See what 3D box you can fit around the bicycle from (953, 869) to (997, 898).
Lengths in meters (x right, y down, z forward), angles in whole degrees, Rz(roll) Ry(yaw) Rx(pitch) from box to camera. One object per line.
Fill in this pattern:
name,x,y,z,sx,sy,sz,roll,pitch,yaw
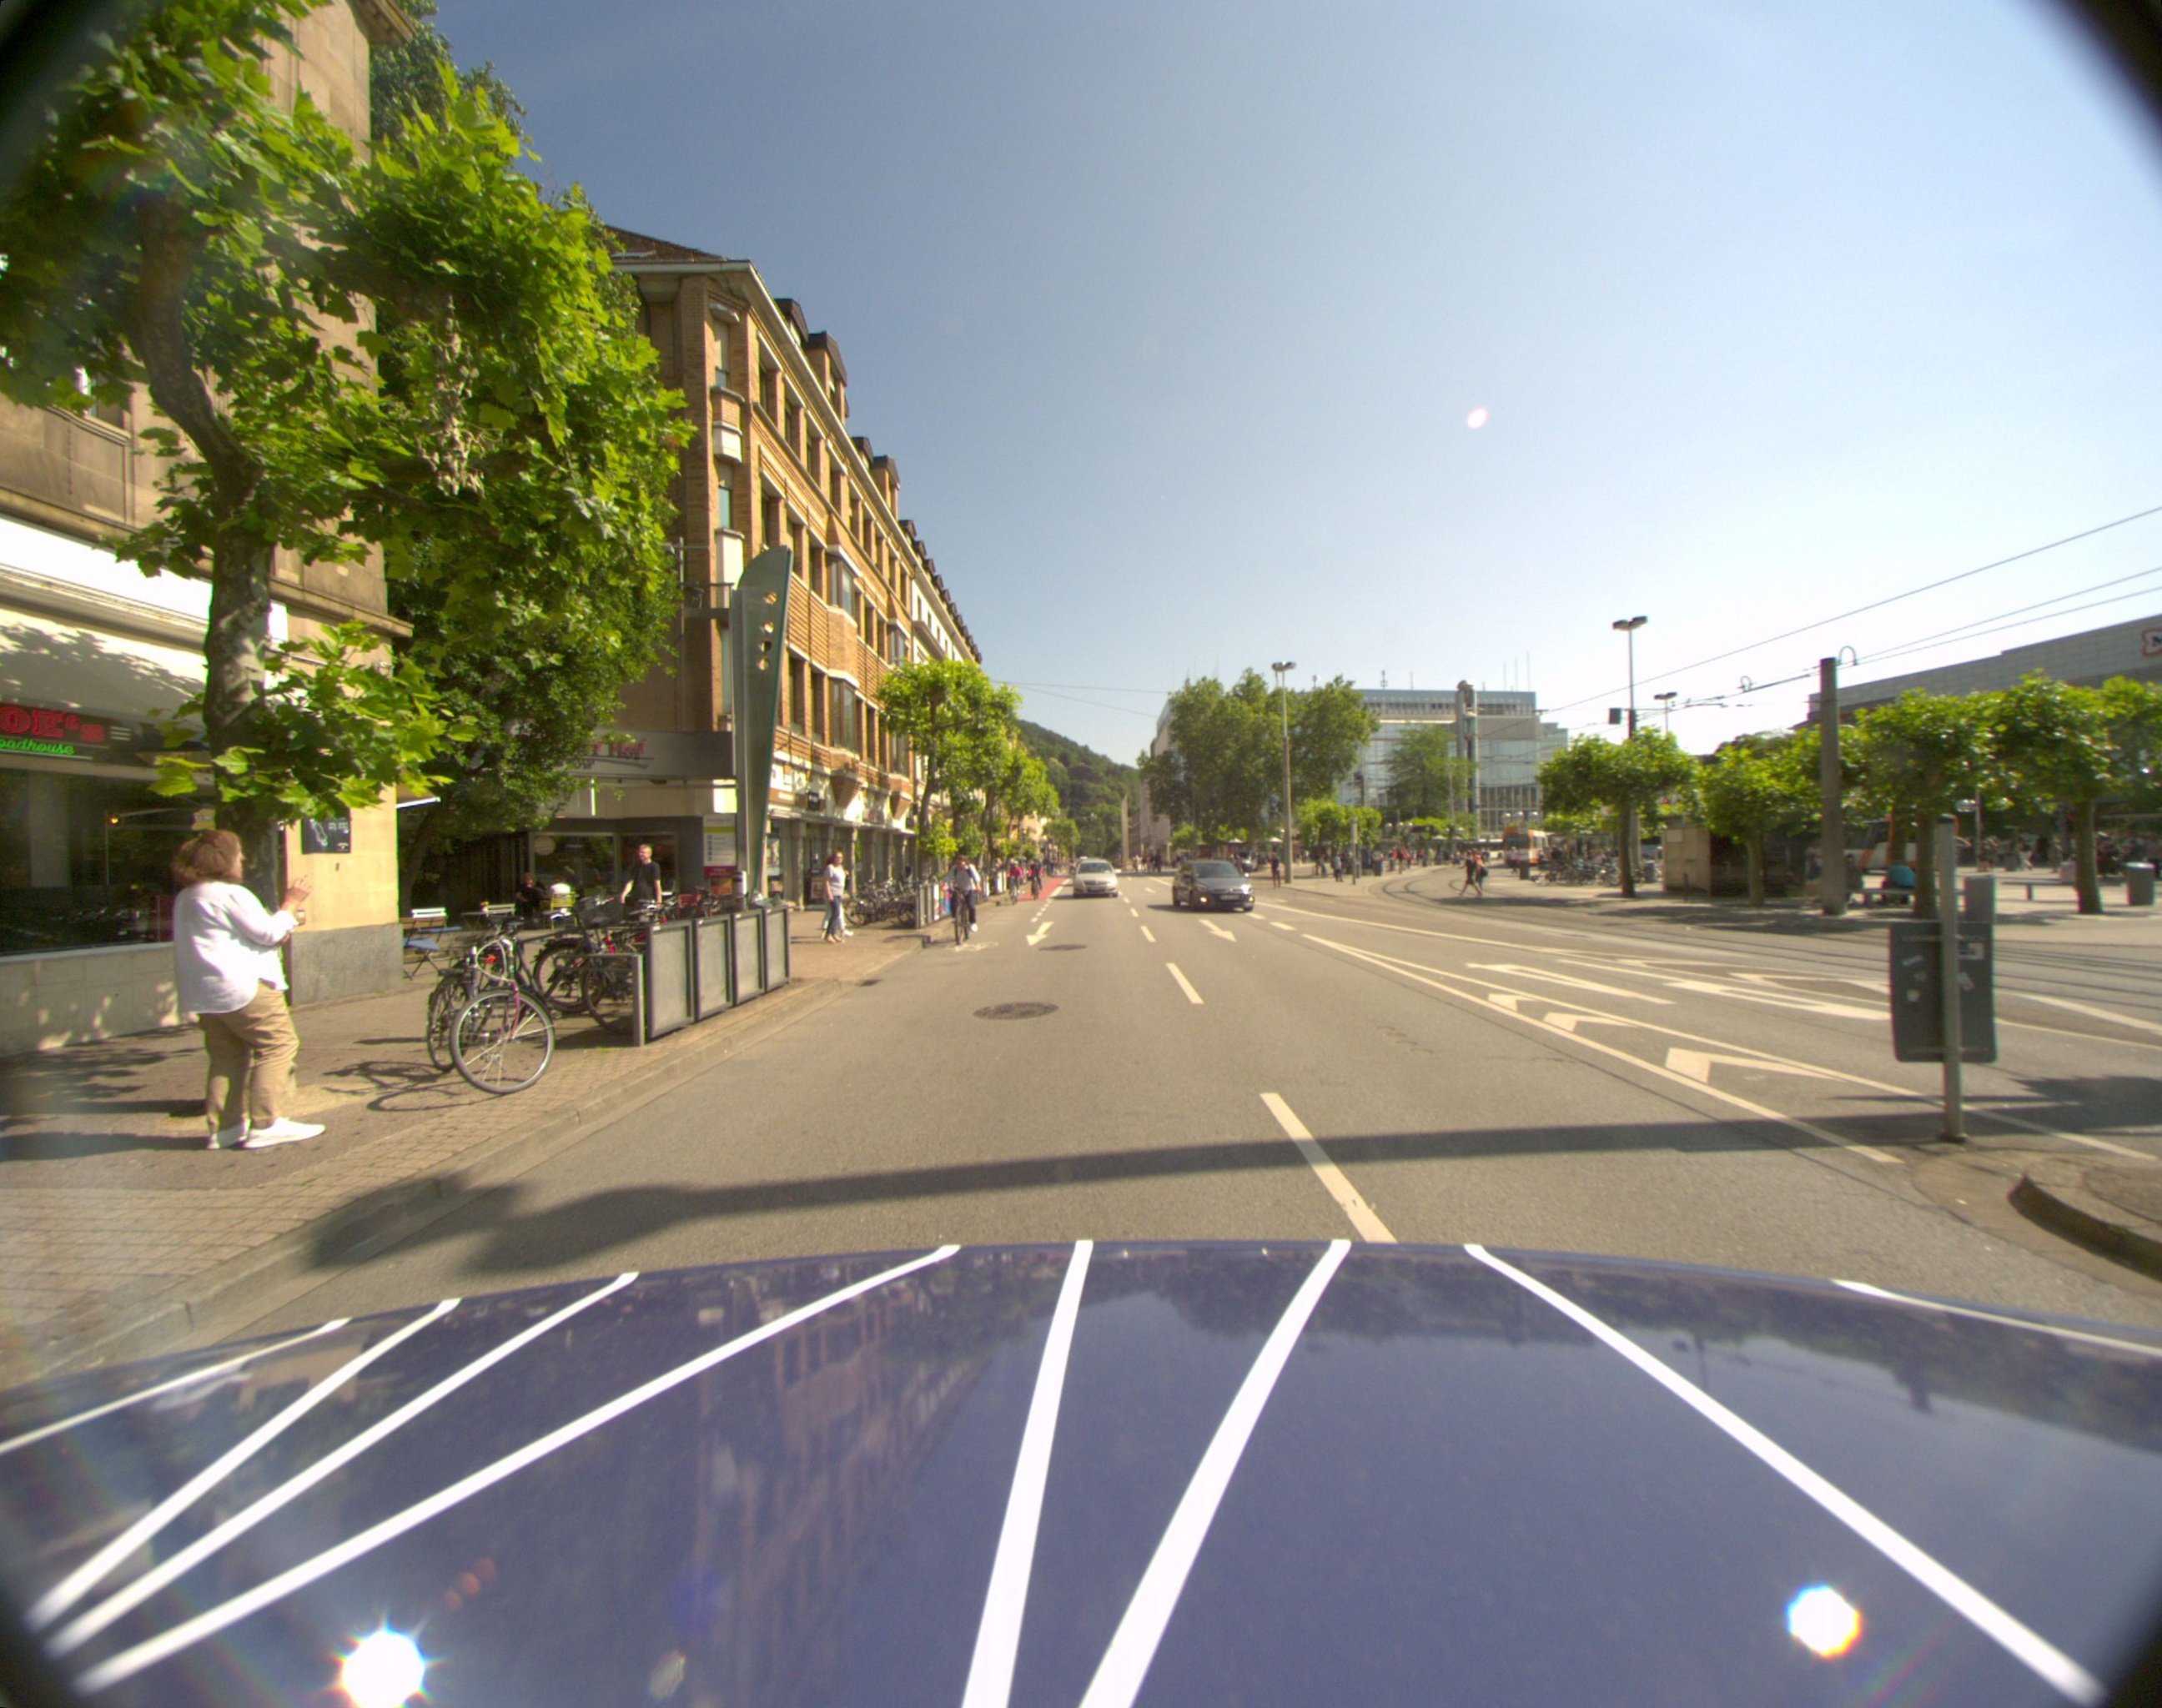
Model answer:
bicycle,-4.458,1.222,31.947,1.757,1.140,0.483,-2,1,-1

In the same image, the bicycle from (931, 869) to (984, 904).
bicycle,-4.378,1.148,26.913,1.757,1.140,0.483,-2,1,-1

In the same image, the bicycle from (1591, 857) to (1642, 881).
bicycle,22.391,0.629,31.782,1.871,0.864,0.581,-3,1,-12

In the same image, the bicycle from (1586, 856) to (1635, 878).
bicycle,23.122,0.561,33.177,1.871,0.864,0.581,-3,1,-12

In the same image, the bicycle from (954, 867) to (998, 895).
bicycle,-4.480,1.138,32.452,1.757,1.140,0.483,-2,1,-1

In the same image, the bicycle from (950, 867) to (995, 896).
bicycle,-4.476,1.128,31.427,1.757,1.140,0.483,-2,1,-1

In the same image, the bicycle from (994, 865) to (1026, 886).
bicycle,-4.125,1.250,44.093,1.757,1.140,0.483,-2,1,-1

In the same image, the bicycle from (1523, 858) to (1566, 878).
bicycle,22.552,0.677,36.968,1.871,0.851,0.546,-3,1,-12

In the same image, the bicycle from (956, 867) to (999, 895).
bicycle,-4.481,1.158,33.058,1.757,1.140,0.499,-2,1,-1

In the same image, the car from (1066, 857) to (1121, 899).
car,0.524,0.872,29.526,1.918,1.401,4.000,-3,0,2

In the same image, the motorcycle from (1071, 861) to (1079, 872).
motorcycle,-0.641,1.281,78.788,0.736,1.086,1.898,-3,0,1

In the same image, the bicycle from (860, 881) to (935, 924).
bicycle,-4.564,1.195,18.967,1.721,0.979,0.483,-2,1,-1

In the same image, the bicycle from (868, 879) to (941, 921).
bicycle,-4.545,1.178,19.614,1.757,1.012,0.483,-2,1,-1

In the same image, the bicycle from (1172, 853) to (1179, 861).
bicycle,13.281,0.422,107.009,0.592,1.140,1.757,-2,0,-7

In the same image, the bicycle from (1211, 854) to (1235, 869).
bicycle,11.107,0.601,59.374,1.757,1.140,0.483,-2,1,-1

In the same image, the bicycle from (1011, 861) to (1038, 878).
bicycle,-3.910,1.086,52.596,1.757,1.140,0.592,-2,1,-1

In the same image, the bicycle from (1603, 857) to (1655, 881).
bicycle,22.529,0.603,31.229,1.871,0.864,0.581,-3,1,-12

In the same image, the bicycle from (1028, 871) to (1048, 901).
bicycle,-1.685,1.239,30.019,0.667,1.086,1.897,-3,0,-2

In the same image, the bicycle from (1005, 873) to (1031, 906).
bicycle,-2.236,1.255,27.238,0.736,1.086,1.819,-3,0,-1

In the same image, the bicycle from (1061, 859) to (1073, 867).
bicycle,-2.110,1.322,112.521,1.757,1.140,0.592,-2,1,-1

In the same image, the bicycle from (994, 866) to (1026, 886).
bicycle,-4.078,1.237,43.466,1.757,1.062,0.483,-2,1,-1

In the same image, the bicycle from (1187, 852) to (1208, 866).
bicycle,10.516,0.439,68.481,1.757,1.140,0.483,-2,1,-1

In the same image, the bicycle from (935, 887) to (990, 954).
bicycle,-2.290,1.261,14.893,0.736,1.086,1.897,-3,0,-1

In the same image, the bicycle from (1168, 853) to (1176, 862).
bicycle,11.893,0.438,99.575,0.729,1.137,1.914,-3,0,14

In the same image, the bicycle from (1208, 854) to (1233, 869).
bicycle,11.080,0.598,60.213,1.865,1.140,0.483,-2,1,-1

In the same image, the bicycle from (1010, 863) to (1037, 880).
bicycle,-3.877,1.178,51.343,1.757,1.140,0.483,-2,1,-1

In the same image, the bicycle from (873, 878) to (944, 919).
bicycle,-4.612,1.193,20.336,1.757,1.012,0.483,-2,1,-1

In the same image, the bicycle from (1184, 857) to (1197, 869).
bicycle,10.500,0.867,72.832,0.831,1.017,2.626,-3,0,1

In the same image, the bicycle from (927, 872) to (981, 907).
bicycle,-4.388,1.231,26.382,1.757,1.140,0.483,-2,1,-1

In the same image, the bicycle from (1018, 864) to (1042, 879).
bicycle,-3.970,1.364,59.109,1.757,1.140,0.592,-2,1,-1

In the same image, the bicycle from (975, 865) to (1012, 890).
bicycle,-4.304,1.158,37.551,1.757,1.140,0.483,-2,1,-1

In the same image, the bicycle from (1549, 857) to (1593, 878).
bicycle,22.762,0.643,35.288,1.871,0.851,0.546,-3,1,-12

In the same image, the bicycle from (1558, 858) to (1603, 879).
bicycle,22.795,0.653,34.695,1.871,0.851,0.546,-3,1,-12

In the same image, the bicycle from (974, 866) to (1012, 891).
bicycle,-4.286,1.194,37.042,1.757,1.140,0.483,-2,1,-1

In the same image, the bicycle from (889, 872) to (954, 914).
bicycle,-4.649,1.125,22.157,1.757,1.140,0.483,-2,1,-1

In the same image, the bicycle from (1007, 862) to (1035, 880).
bicycle,-3.945,1.109,49.770,1.778,1.140,0.483,-2,1,-1

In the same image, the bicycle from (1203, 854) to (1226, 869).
bicycle,10.935,0.600,62.087,1.757,1.140,0.483,-2,1,-1

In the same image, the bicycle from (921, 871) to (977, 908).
bicycle,-4.391,1.177,25.395,1.757,1.140,0.483,-2,1,-1

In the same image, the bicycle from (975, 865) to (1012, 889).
bicycle,-4.361,1.144,38.114,1.757,1.140,0.527,-2,1,-1

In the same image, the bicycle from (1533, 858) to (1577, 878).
bicycle,22.618,0.665,36.275,1.871,0.867,0.583,-3,1,-12

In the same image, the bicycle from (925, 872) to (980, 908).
bicycle,-4.371,1.209,25.877,1.757,1.140,0.483,-2,1,-1

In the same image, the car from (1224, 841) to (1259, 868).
car,13.714,0.013,64.602,1.996,2.002,5.074,-3,0,22

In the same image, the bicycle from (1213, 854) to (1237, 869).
bicycle,11.133,0.566,58.868,1.757,1.140,0.483,-2,1,-1

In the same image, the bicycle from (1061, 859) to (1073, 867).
bicycle,-2.117,1.326,113.414,1.757,1.140,0.592,-2,1,-1

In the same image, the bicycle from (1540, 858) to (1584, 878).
bicycle,22.634,0.651,35.781,1.871,0.851,0.546,-3,1,-12

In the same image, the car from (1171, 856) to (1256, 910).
car,3.843,0.795,22.657,1.699,1.397,3.999,-1,0,-2

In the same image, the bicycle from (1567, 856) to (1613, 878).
bicycle,22.884,0.576,34.135,1.871,0.851,0.546,-3,1,-12

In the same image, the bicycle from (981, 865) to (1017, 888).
bicycle,-4.212,1.147,39.072,1.757,1.140,0.483,-2,1,-1
